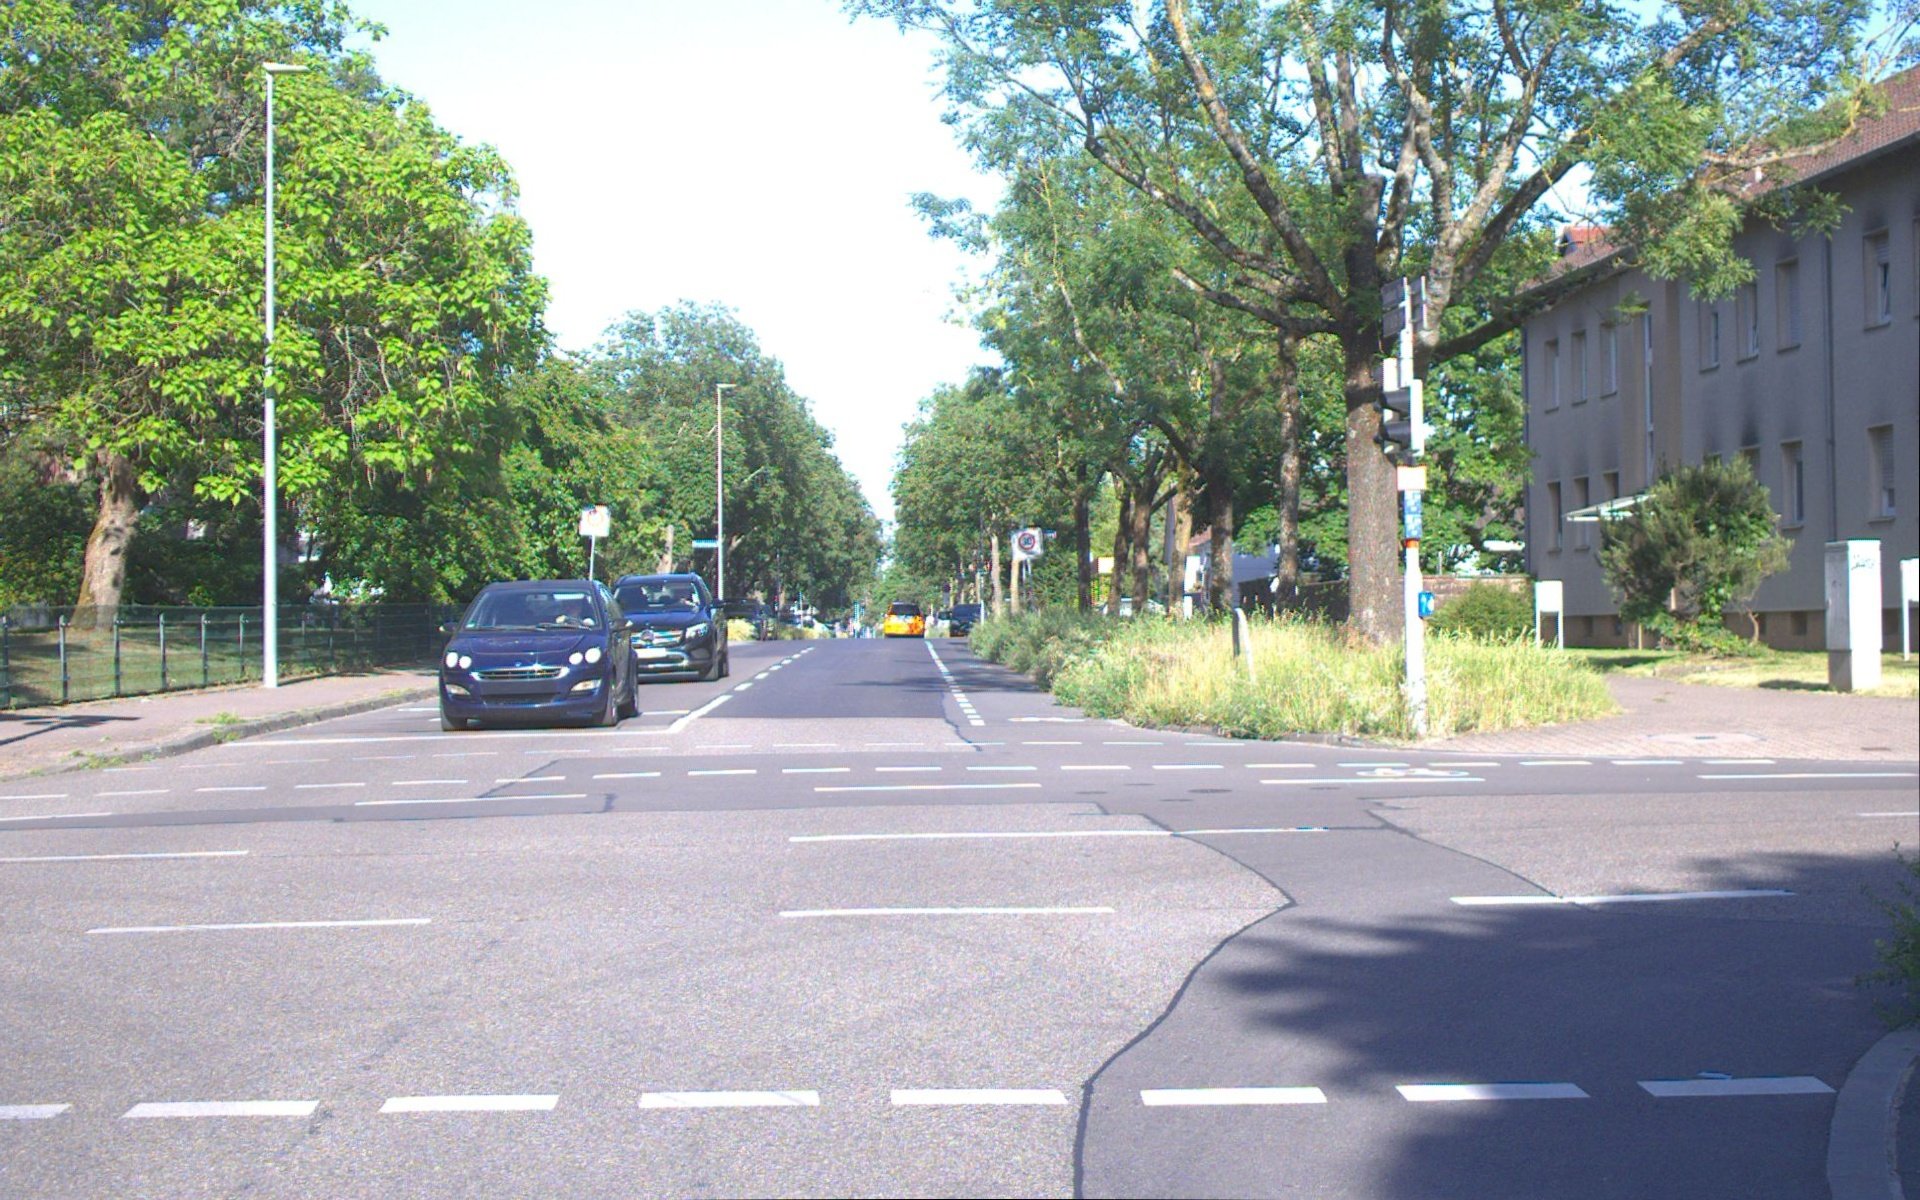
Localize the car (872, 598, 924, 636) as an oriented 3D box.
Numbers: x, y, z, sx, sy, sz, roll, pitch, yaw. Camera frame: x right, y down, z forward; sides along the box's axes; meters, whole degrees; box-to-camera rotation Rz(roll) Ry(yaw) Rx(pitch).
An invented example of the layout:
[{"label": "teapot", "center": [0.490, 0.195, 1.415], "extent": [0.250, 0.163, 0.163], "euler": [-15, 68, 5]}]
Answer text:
[{"label": "car", "center": [-2.561, 0.714, 141.850], "extent": [1.887, 1.474, 3.888], "euler": [2, -1, -4]}]

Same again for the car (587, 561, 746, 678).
[{"label": "car", "center": [-4.358, 0.254, 51.691], "extent": [1.815, 1.612, 4.392], "euler": [-2, 0, 2]}]

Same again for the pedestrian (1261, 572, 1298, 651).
[{"label": "pedestrian", "center": [7.049, 0.258, 75.847], "extent": [0.637, 1.700, 0.612], "euler": [-3, 1, -2]}]

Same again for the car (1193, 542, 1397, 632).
[{"label": "car", "center": [9.733, -0.377, 100.157], "extent": [5.593, 2.530, 2.266], "euler": [-1, 0, -4]}]

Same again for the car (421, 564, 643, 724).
[{"label": "car", "center": [-4.198, 0.440, 34.205], "extent": [1.806, 1.450, 3.850], "euler": [-2, -1, -2]}]

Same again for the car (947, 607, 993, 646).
[{"label": "car", "center": [0.422, 1.176, 151.111], "extent": [1.853, 1.620, 4.469], "euler": [-2, -1, -1]}]
